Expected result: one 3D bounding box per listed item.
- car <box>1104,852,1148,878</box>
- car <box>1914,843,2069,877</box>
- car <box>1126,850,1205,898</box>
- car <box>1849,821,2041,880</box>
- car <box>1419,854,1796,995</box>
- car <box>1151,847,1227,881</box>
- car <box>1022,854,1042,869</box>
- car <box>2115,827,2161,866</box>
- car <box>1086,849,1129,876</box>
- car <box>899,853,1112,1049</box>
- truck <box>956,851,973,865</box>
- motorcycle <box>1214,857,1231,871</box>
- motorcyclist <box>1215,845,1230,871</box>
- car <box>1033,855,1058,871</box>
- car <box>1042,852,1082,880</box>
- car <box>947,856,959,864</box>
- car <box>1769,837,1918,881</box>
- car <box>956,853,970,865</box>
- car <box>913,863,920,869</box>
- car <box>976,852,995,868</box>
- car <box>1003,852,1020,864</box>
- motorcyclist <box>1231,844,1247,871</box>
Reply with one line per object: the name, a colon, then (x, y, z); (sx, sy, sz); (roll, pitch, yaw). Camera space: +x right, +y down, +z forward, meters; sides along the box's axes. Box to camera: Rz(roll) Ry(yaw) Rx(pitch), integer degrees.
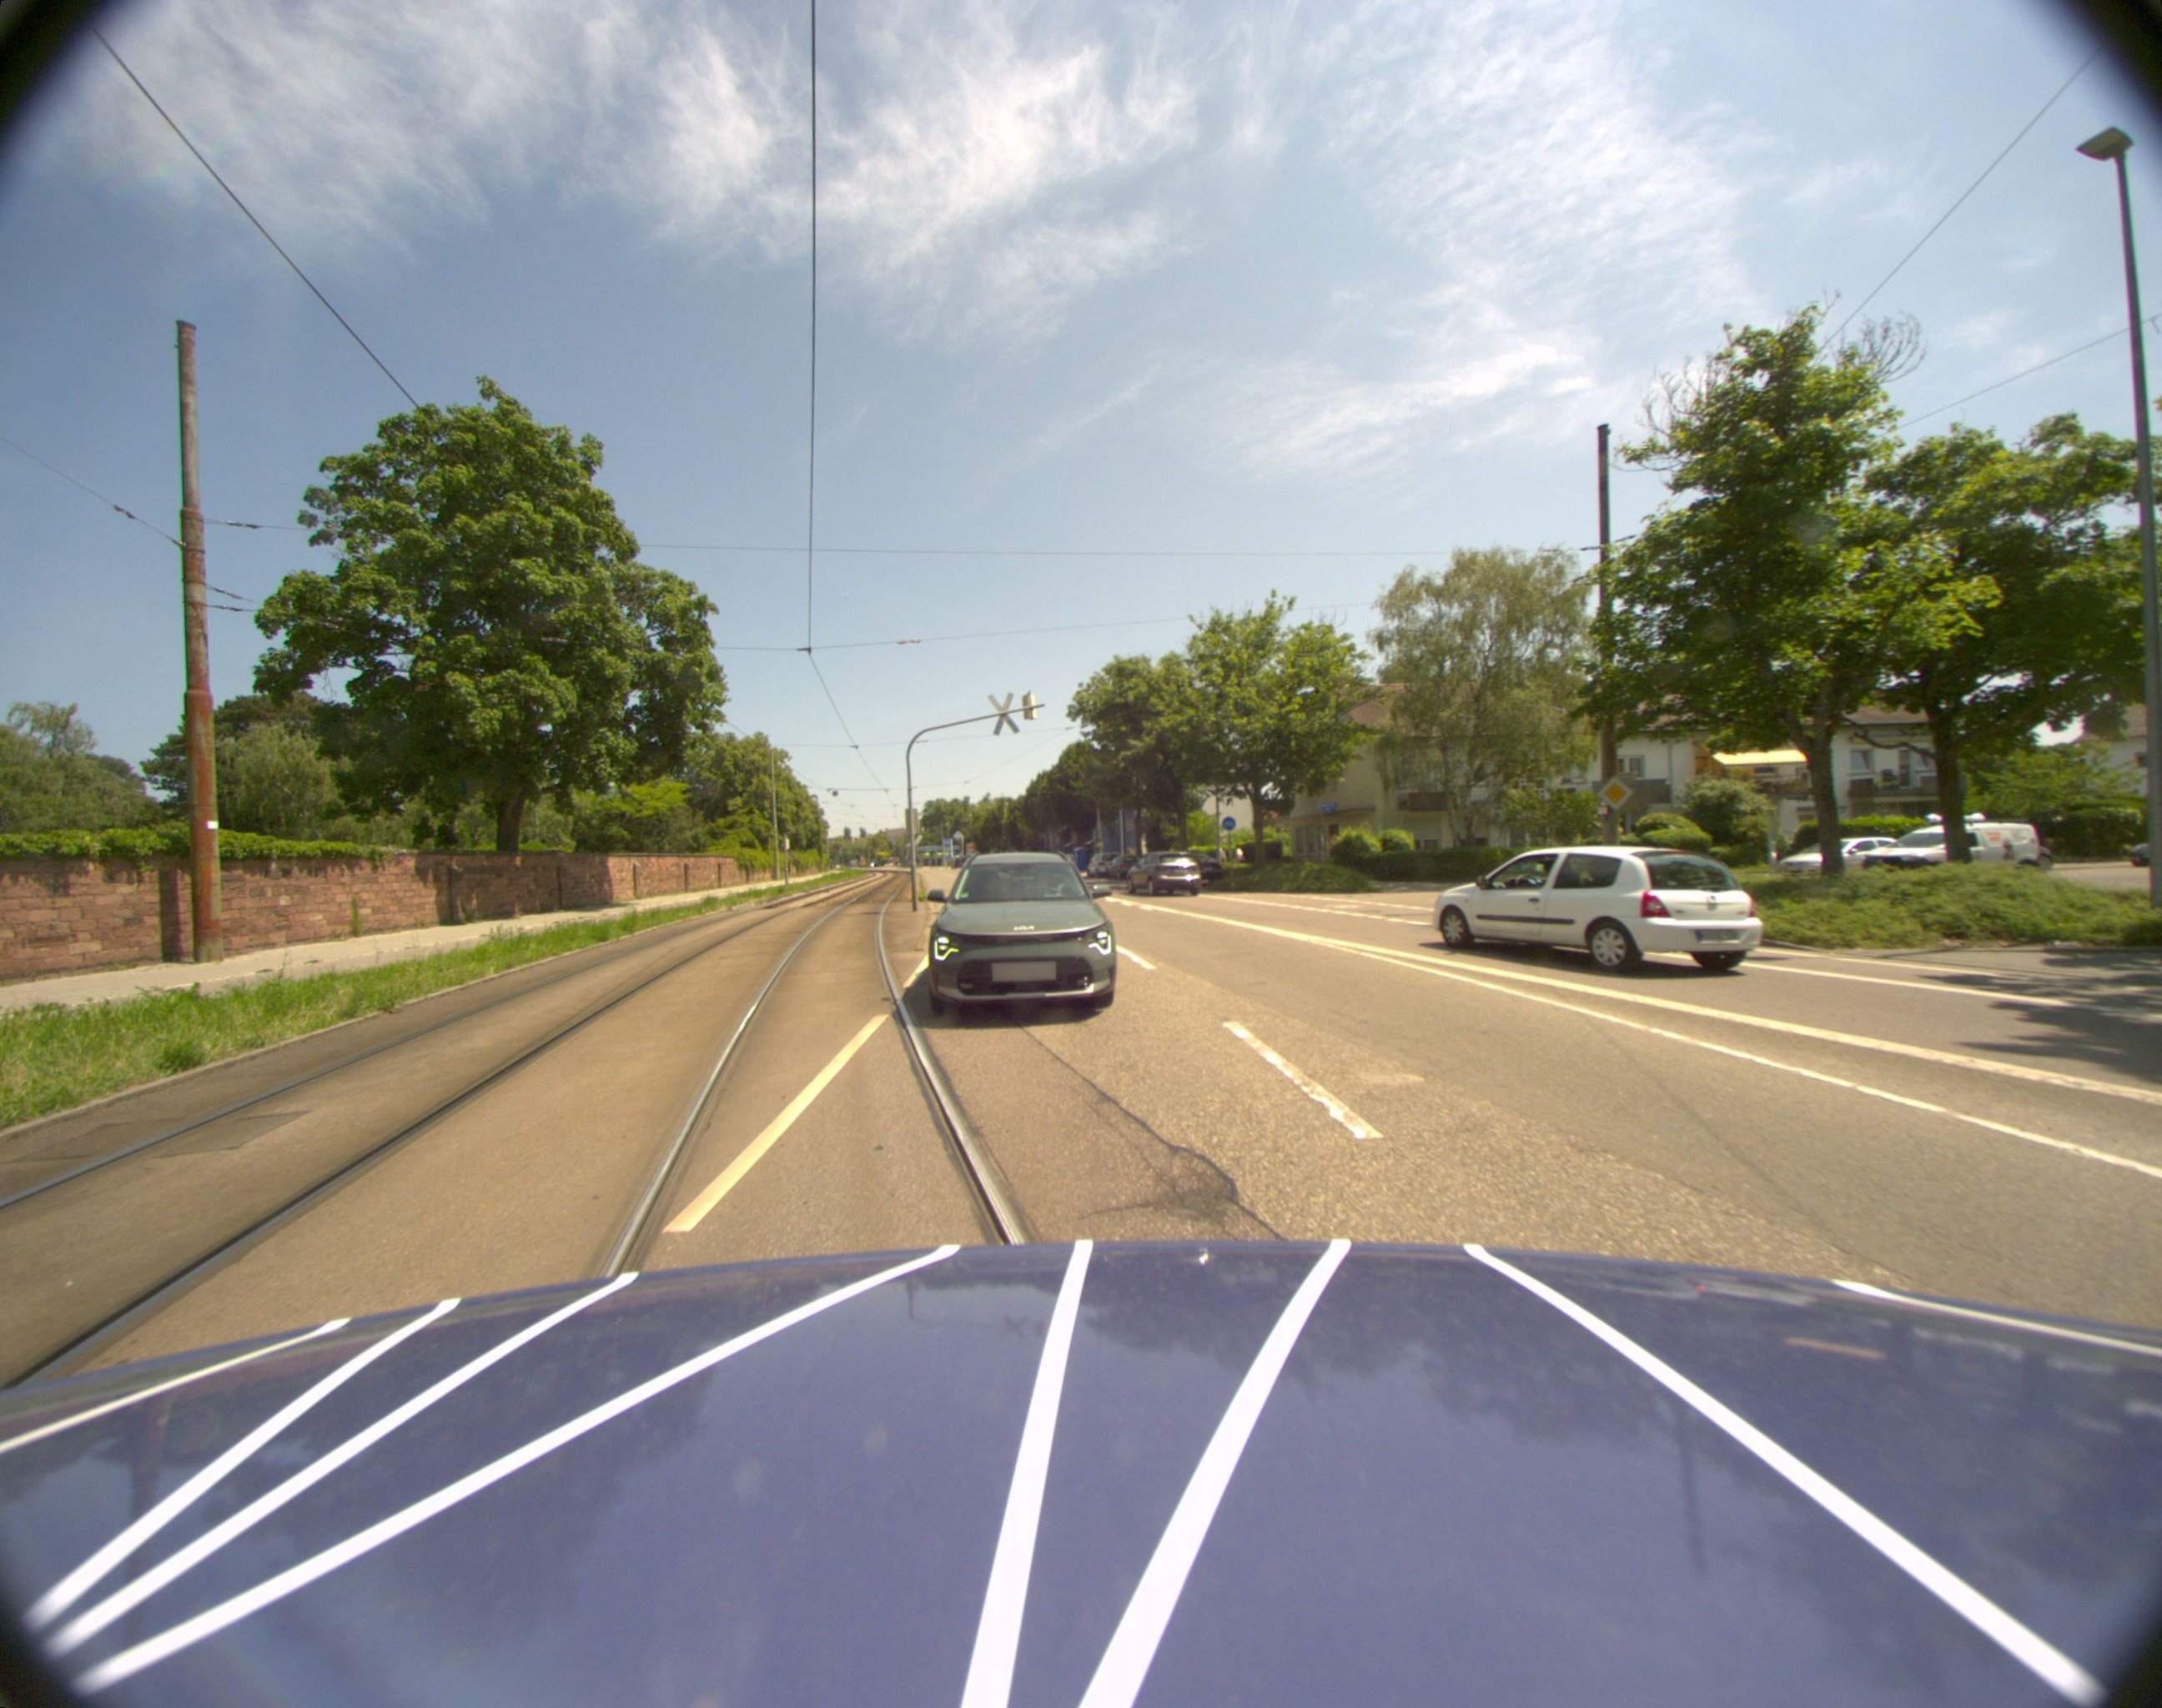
car: (2.848, 0.670, 48.478); (1.682, 1.478, 4.123); (-3, 1, -12)
car: (32.168, 0.203, 26.904); (3.747, 0.986, 1.545); (-3, 0, -2)
car: (2.966, 0.674, 27.414); (1.743, 1.566, 3.709); (-1, 0, -12)
car: (27.368, -0.106, 24.150); (4.233, 1.697, 1.740); (-2, 0, -2)
car: (6.201, 0.702, 9.561); (1.654, 1.368, 3.807); (0, 0, -12)
car: (5.128, 0.474, 36.882); (1.901, 1.448, 4.804); (-3, 1, -14)
car: (-5.803, 0.876, 89.927); (1.657, 1.487, 3.645); (-6, 1, -13)
car: (40.988, -0.318, 27.999); (3.906, 1.385, 1.545); (-2, 0, -3)
car: (1.793, 0.570, 53.569); (1.977, 1.679, 4.683); (-3, 1, -10)
car: (-0.644, 0.844, 8.800); (1.759, 1.574, 4.426); (-3, 0, 0)
truck: (-23.427, 0.740, 152.757); (2.137, 2.566, 4.856); (-6, 1, -21)
motorcycle: (8.576, 0.598, 46.090); (0.527, 0.821, 1.369); (-5, 1, -11)
motorcyclist: (8.568, 0.247, 45.963); (0.588, 1.494, 0.724); (-5, 1, -11)
car: (-3.736, 0.890, 80.149); (1.682, 1.487, 4.633); (-6, 1, -13)
car: (-1.223, 0.712, 47.328); (1.743, 1.647, 4.062); (-1, 0, -12)
car: (-27.596, 1.278, 163.525); (1.867, 1.487, 3.465); (-6, 1, -21)
car: (27.150, 0.173, 27.129); (3.906, 1.385, 1.545); (-2, 0, -3)
car: (-18.564, 0.751, 119.611); (1.925, 1.899, 4.566); (-1, 0, -12)
car: (-47.336, 3.320, 218.887); (1.866, 1.487, 3.466); (-6, 1, -13)
car: (-11.900, 0.753, 94.391); (1.906, 1.914, 4.814); (0, 0, -13)
car: (-9.727, 0.603, 106.411); (1.657, 1.487, 4.077); (-6, 1, -13)
motorcyclist: (8.999, 0.179, 43.319); (0.588, 1.494, 0.661); (-5, 1, -11)
